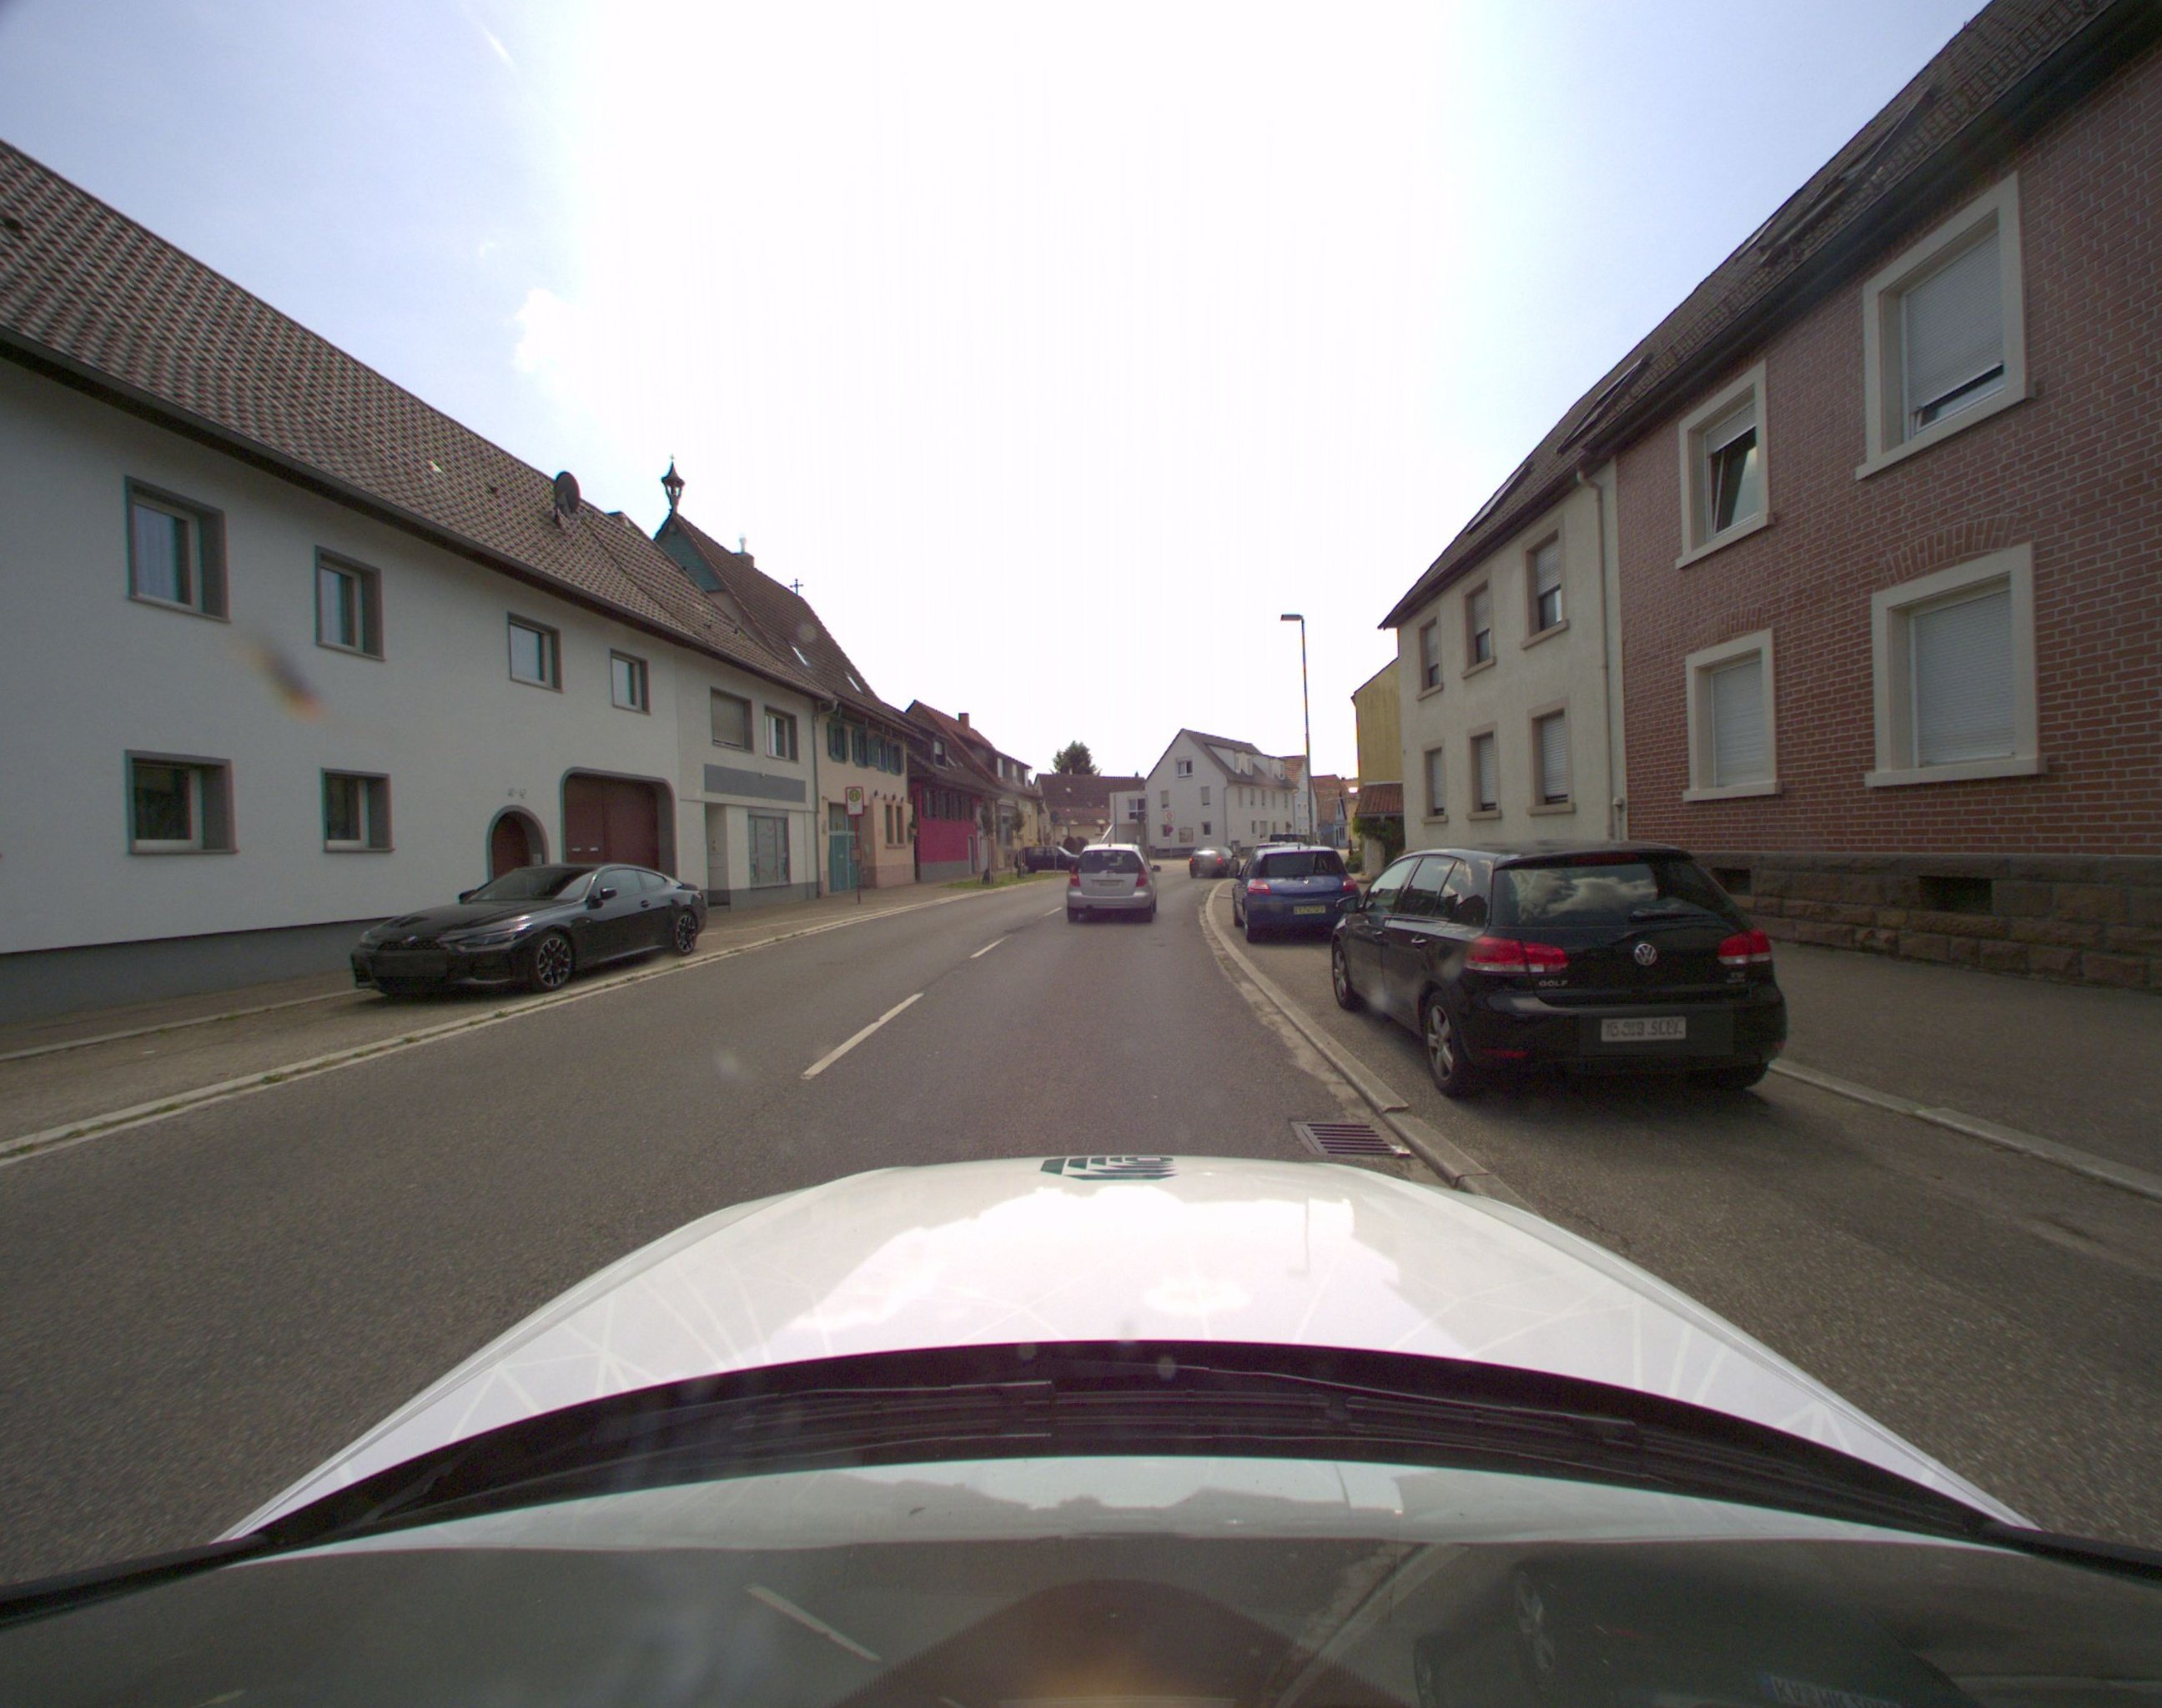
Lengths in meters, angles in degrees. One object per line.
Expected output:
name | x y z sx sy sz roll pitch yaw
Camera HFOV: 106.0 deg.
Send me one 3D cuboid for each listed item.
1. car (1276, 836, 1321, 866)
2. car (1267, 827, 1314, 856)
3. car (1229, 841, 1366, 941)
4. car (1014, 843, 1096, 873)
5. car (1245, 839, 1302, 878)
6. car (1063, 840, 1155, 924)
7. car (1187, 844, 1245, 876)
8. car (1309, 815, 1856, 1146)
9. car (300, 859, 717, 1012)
car | 11.695 -0.131 43.618 1.869 1.530 4.020 -1 -1 21
car | 13.827 -0.811 53.659 1.974 1.816 4.025 -1 -1 30
car | 3.471 0.551 13.739 1.713 1.385 4.009 -2 -1 8
car | -1.306 0.179 41.668 3.945 1.464 1.725 0 0 7
car | 8.792 0.166 36.911 1.868 1.530 4.358 -4 -1 21
car | 0.716 0.515 17.935 1.802 1.643 3.735 0 1 5
car | 6.337 0.269 37.913 1.734 1.416 4.022 -1 -1 23
car | 3.031 0.552 6.030 1.760 1.529 4.006 -5 2 5
car | -6.628 0.809 10.297 1.759 1.349 4.758 -1 1 2
